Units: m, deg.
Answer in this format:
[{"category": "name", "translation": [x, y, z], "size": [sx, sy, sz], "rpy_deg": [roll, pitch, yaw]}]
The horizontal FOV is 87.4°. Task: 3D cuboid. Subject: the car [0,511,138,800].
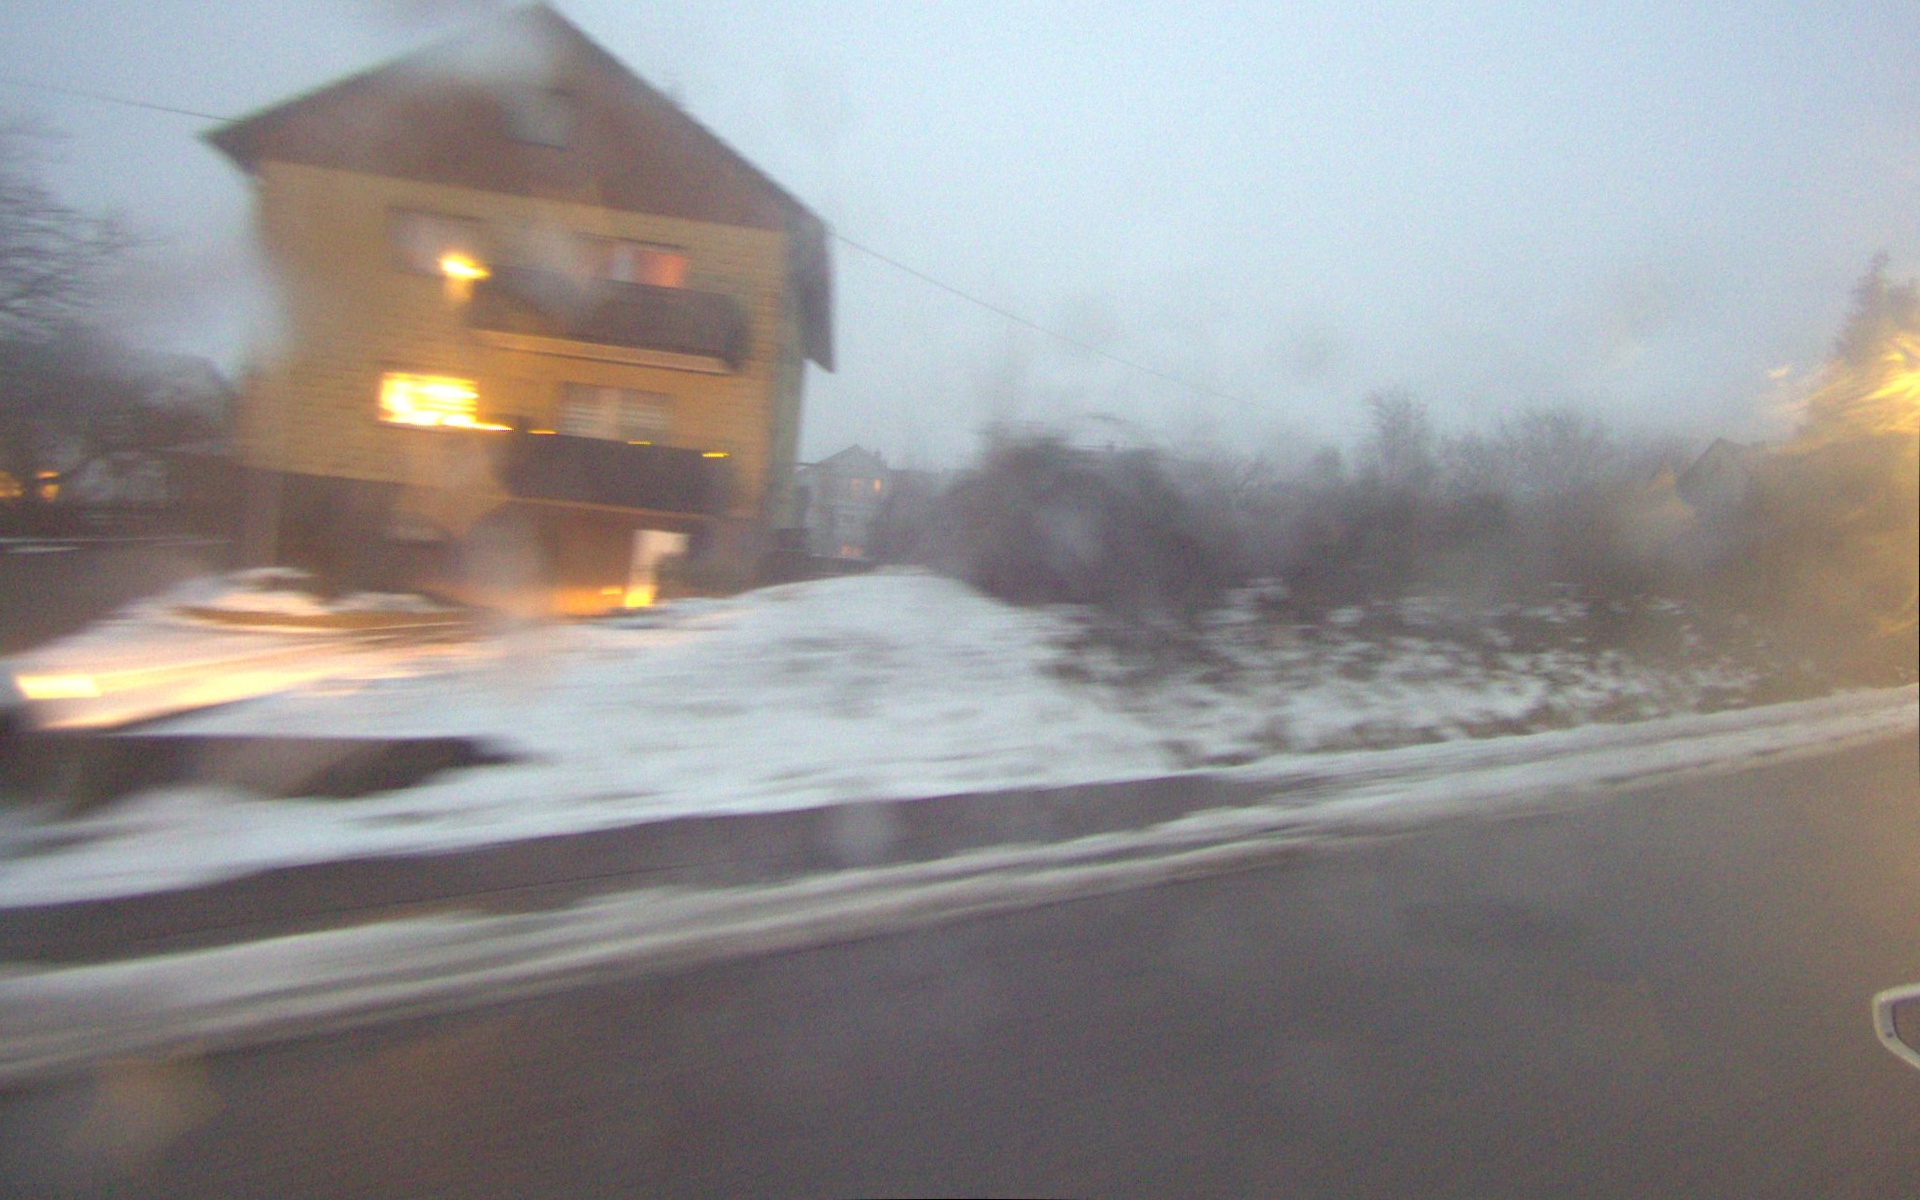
[{"category": "car", "translation": [-6.432, 0.328, 4.622], "size": [1.865, 1.631, 4.000], "rpy_deg": [3, 3, 4]}]
